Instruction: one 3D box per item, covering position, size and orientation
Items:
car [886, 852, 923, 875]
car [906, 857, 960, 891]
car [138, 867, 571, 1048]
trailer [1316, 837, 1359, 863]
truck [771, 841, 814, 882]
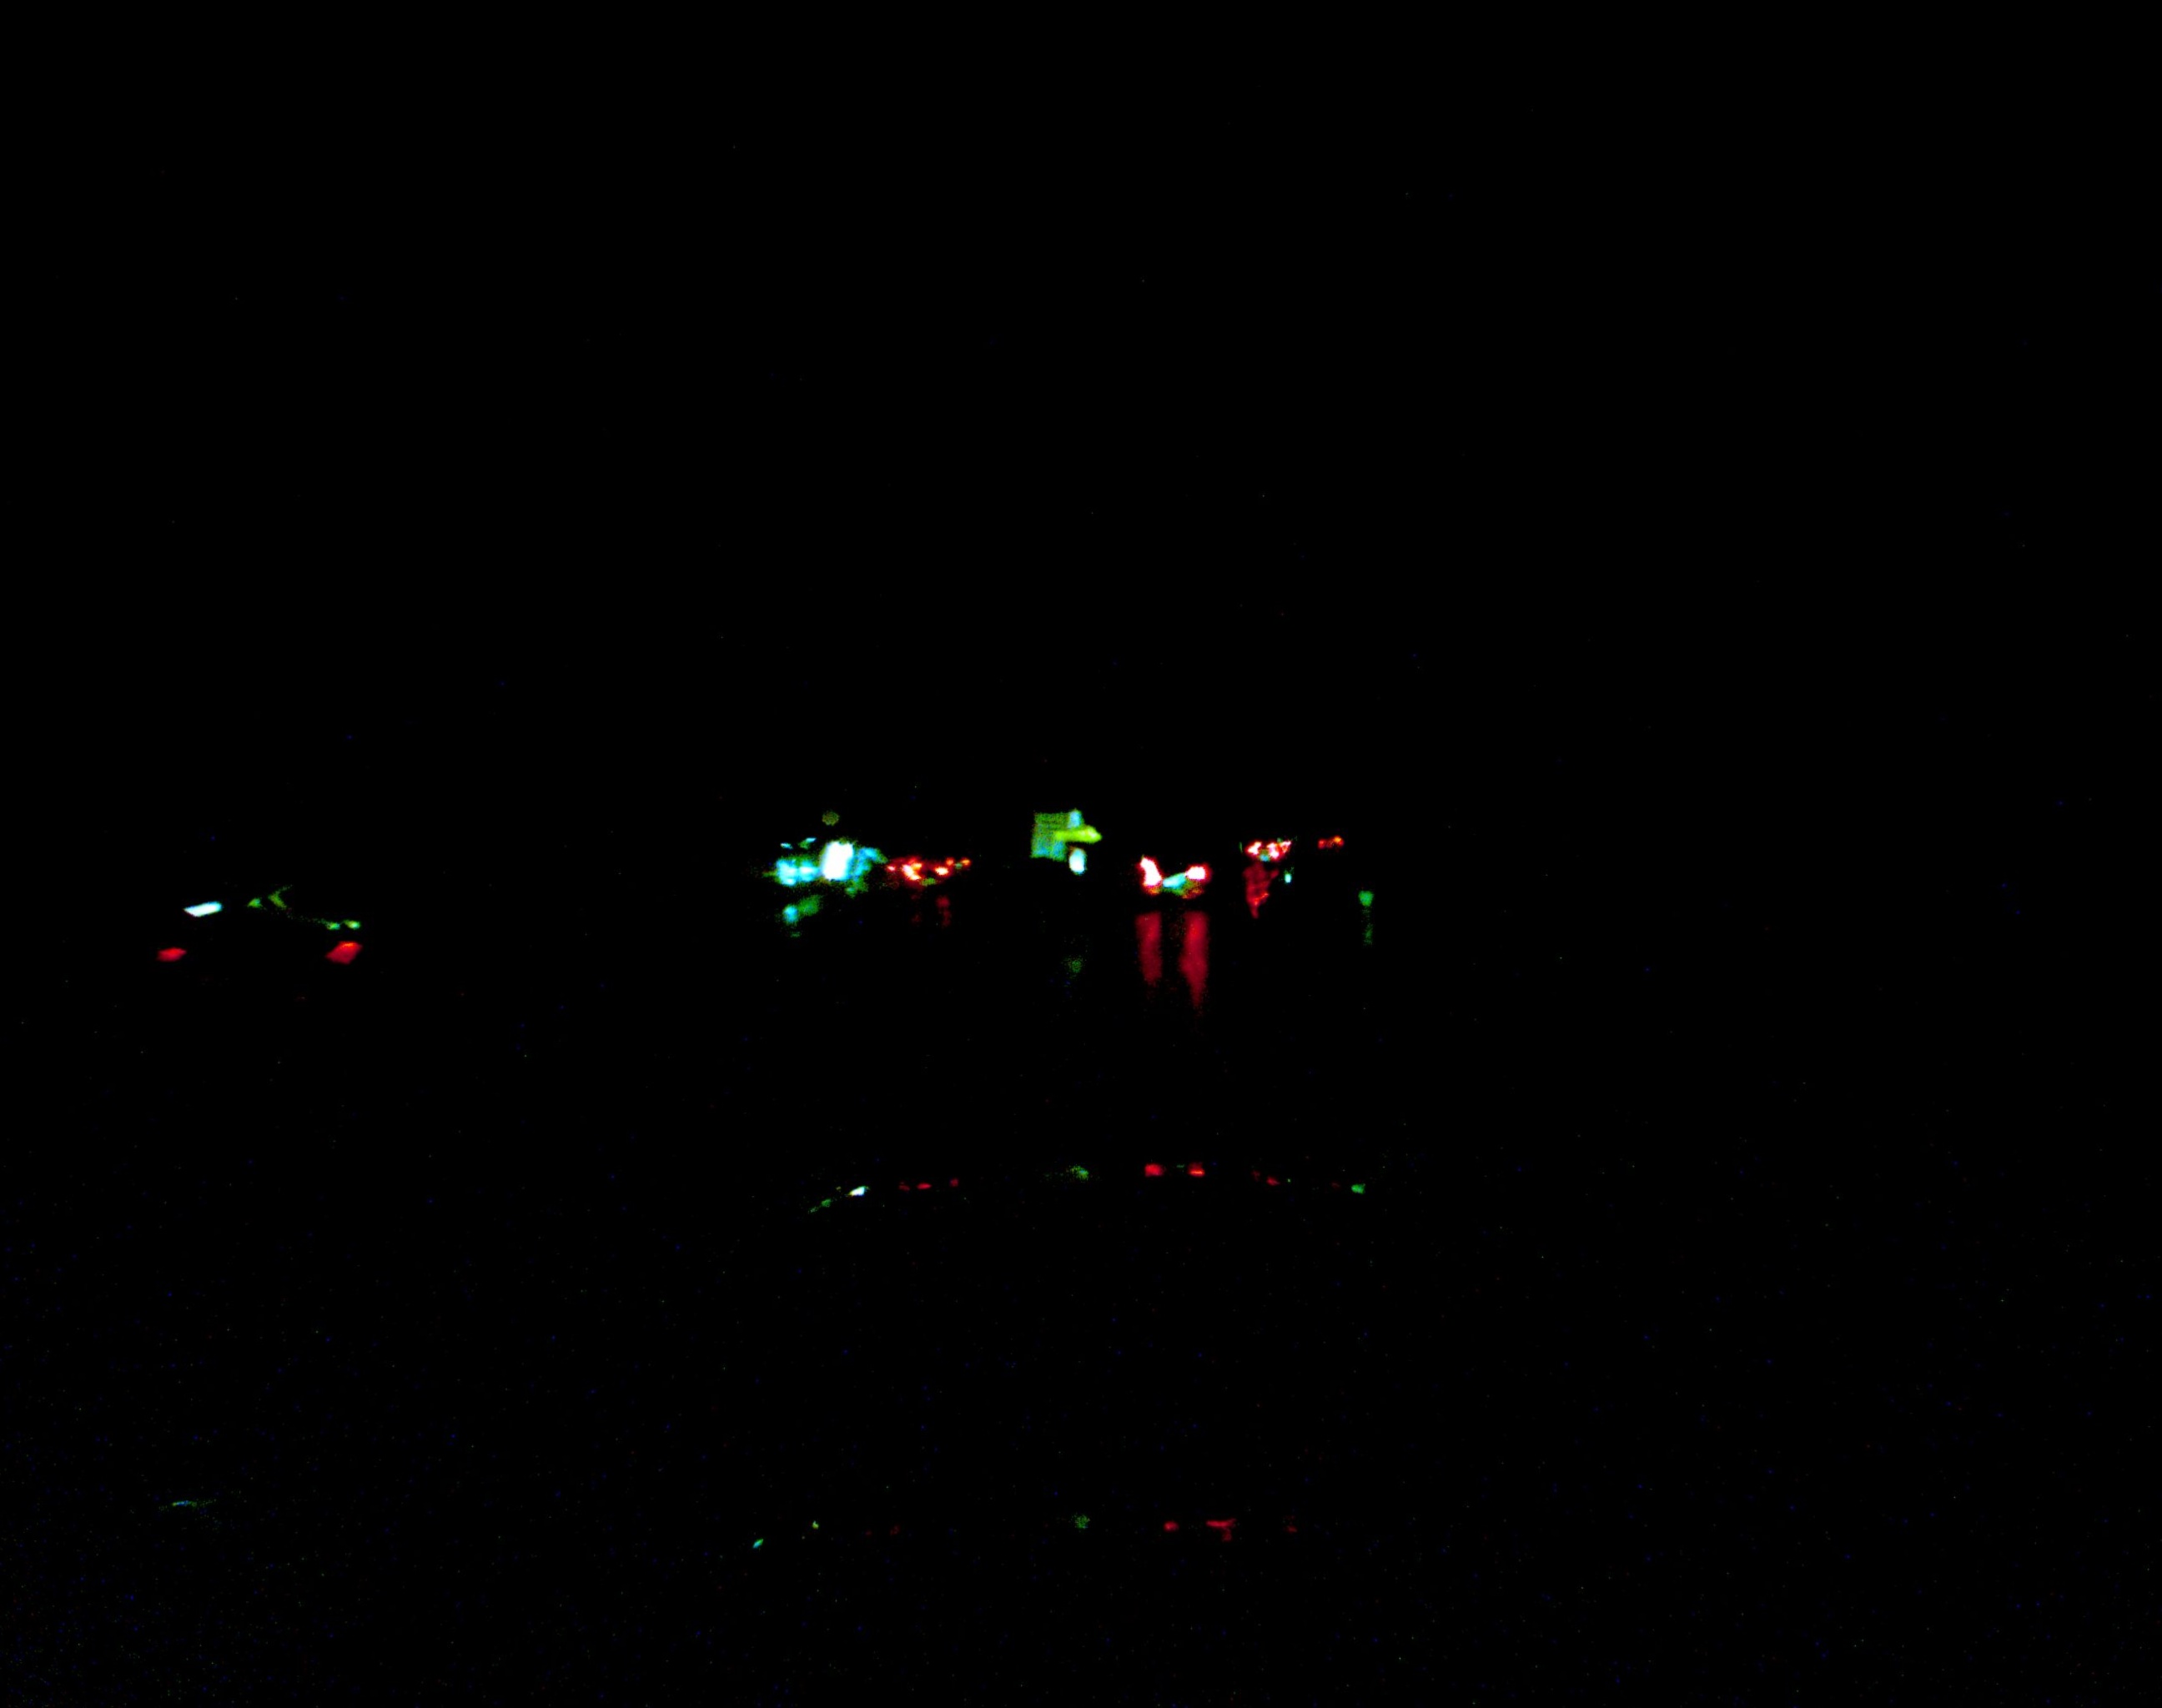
[{"bbox_3d":[-12.800,0.676,59.292,1.763,1.517,4.911,-2,0,-2],"label":"car"},{"bbox_3d":[-6.504,0.863,36.194,1.959,1.380,4.041,-1,-1,-5],"label":"car"},{"bbox_3d":[-8.144,1.015,9.708,1.645,1.575,3.847,-3,0,-1],"label":"car"},{"bbox_3d":[22.062,-0.340,69.717,2.059,2.014,10.708,-2,-1,25],"label":"trailer"},{"bbox_3d":[-29.614,0.746,84.014,3.404,3.973,7.422,-1,0,-14],"label":"truck"}]
